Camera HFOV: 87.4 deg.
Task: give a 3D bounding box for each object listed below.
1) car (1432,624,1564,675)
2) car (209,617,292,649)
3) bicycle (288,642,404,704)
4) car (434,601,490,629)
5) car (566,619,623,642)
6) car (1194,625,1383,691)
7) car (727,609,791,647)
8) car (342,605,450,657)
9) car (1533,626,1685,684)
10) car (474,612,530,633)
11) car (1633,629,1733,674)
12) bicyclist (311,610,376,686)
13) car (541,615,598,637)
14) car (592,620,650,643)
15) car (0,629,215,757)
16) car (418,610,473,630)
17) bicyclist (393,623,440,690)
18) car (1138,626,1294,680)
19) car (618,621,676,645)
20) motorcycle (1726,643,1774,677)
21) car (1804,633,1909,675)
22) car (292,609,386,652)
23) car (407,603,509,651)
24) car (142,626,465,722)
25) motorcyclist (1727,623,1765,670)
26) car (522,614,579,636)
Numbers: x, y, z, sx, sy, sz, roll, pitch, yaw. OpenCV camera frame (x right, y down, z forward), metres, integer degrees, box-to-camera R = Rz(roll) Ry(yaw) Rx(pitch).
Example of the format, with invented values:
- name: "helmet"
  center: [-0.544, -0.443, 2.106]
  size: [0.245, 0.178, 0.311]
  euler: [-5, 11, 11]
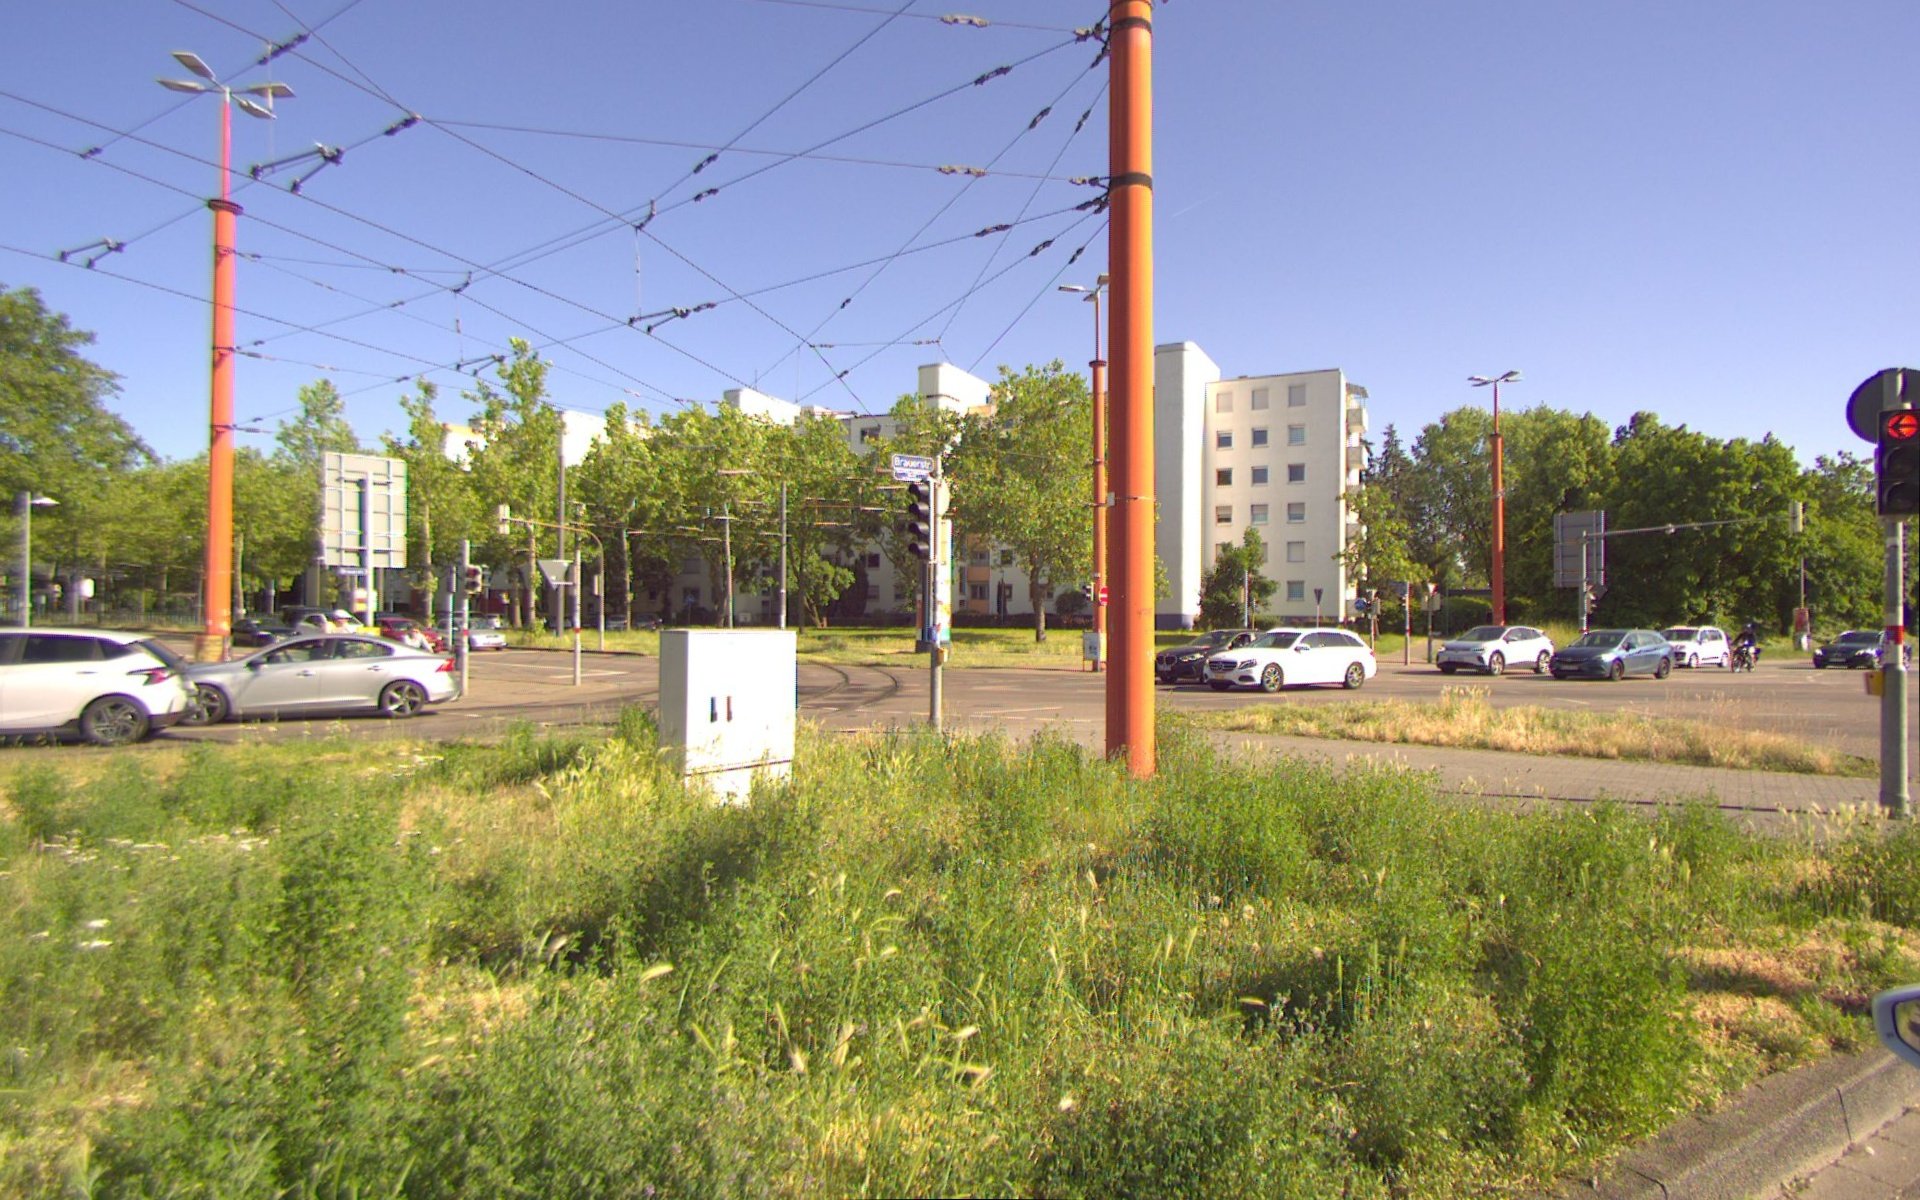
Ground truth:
- name: "car"
  center: [18.043, 1.635, 33.652]
  size: [4.383, 1.622, 1.831]
  euler: [2, -2, -28]
- name: "car"
  center: [-33.805, 1.545, 47.833]
  size: [3.928, 1.339, 1.733]
  euler: [1, 0, 30]
- name: "bicycle"
  center: [-12.149, 1.431, 19.863]
  size: [2.313, 1.095, 0.474]
  euler: [1, 0, 15]
- name: "car"
  center: [-38.309, 1.150, 77.202]
  size: [4.333, 2.040, 1.994]
  euler: [0, -1, 34]
- name: "car"
  center: [-27.715, 2.308, 76.261]
  size: [3.935, 1.617, 1.889]
  euler: [2, 0, -17]
- name: "car"
  center: [7.887, 1.364, 23.989]
  size: [4.589, 1.441, 1.695]
  euler: [2, -2, -31]
- name: "car"
  center: [-13.192, 1.848, 65.948]
  size: [3.935, 2.341, 1.889]
  euler: [2, 0, -17]
- name: "car"
  center: [-23.101, 1.230, 41.126]
  size: [4.198, 1.926, 1.996]
  euler: [1, 0, 30]
- name: "car"
  center: [19.602, 1.626, 30.322]
  size: [4.408, 1.615, 1.986]
  euler: [1, -2, -28]
- name: "car"
  center: [-38.317, 1.882, 84.112]
  size: [3.935, 1.617, 1.889]
  euler: [2, 0, -17]
- name: "car"
  center: [29.200, 2.067, 40.537]
  size: [4.012, 1.730, 1.792]
  euler: [2, -2, -30]
- name: "bicyclist"
  center: [-12.193, 0.930, 19.884]
  size: [0.742, 1.449, 0.752]
  euler: [1, 0, 14]
- name: "car"
  center: [-30.403, 2.040, 78.286]
  size: [3.935, 1.617, 1.889]
  euler: [2, 0, -17]
- name: "car"
  center: [-25.220, 2.362, 74.856]
  size: [3.935, 1.617, 1.889]
  euler: [2, 0, -17]
- name: "car"
  center: [-11.946, 1.144, 12.476]
  size: [4.131, 1.492, 1.582]
  euler: [0, -2, -29]
- name: "car"
  center: [-44.970, 1.739, 87.818]
  size: [3.935, 1.617, 1.889]
  euler: [2, 0, -17]
- name: "bicyclist"
  center: [-11.307, 1.165, 20.896]
  size: [0.688, 1.340, 0.547]
  euler: [1, 0, 31]
- name: "car"
  center: [6.961, 1.418, 27.212]
  size: [3.985, 1.359, 1.852]
  euler: [2, -2, -31]
- name: "car"
  center: [-22.688, 2.412, 72.935]
  size: [3.935, 1.617, 1.889]
  euler: [2, 0, -17]
- name: "motorcycle"
  center: [28.011, 2.131, 35.608]
  size: [2.065, 1.146, 0.420]
  euler: [2, 0, -24]
- name: "car"
  center: [35.248, 2.112, 39.476]
  size: [4.553, 1.505, 1.866]
  euler: [2, 0, -32]
- name: "car"
  center: [-27.719, 1.339, 44.815]
  size: [3.928, 1.773, 1.909]
  euler: [1, 0, 30]
- name: "car"
  center: [-22.032, 1.173, 44.092]
  size: [4.198, 1.926, 1.996]
  euler: [1, 0, 30]
- name: "car"
  center: [-10.886, 1.194, 17.082]
  size: [4.346, 1.392, 1.985]
  euler: [2, 0, -29]
- name: "motorcyclist"
  center: [27.794, 1.624, 35.511]
  size: [0.631, 1.621, 0.833]
  euler: [1, 0, -23]
- name: "car"
  center: [-32.518, 1.998, 79.883]
  size: [3.935, 1.617, 1.889]
  euler: [2, 0, -17]
